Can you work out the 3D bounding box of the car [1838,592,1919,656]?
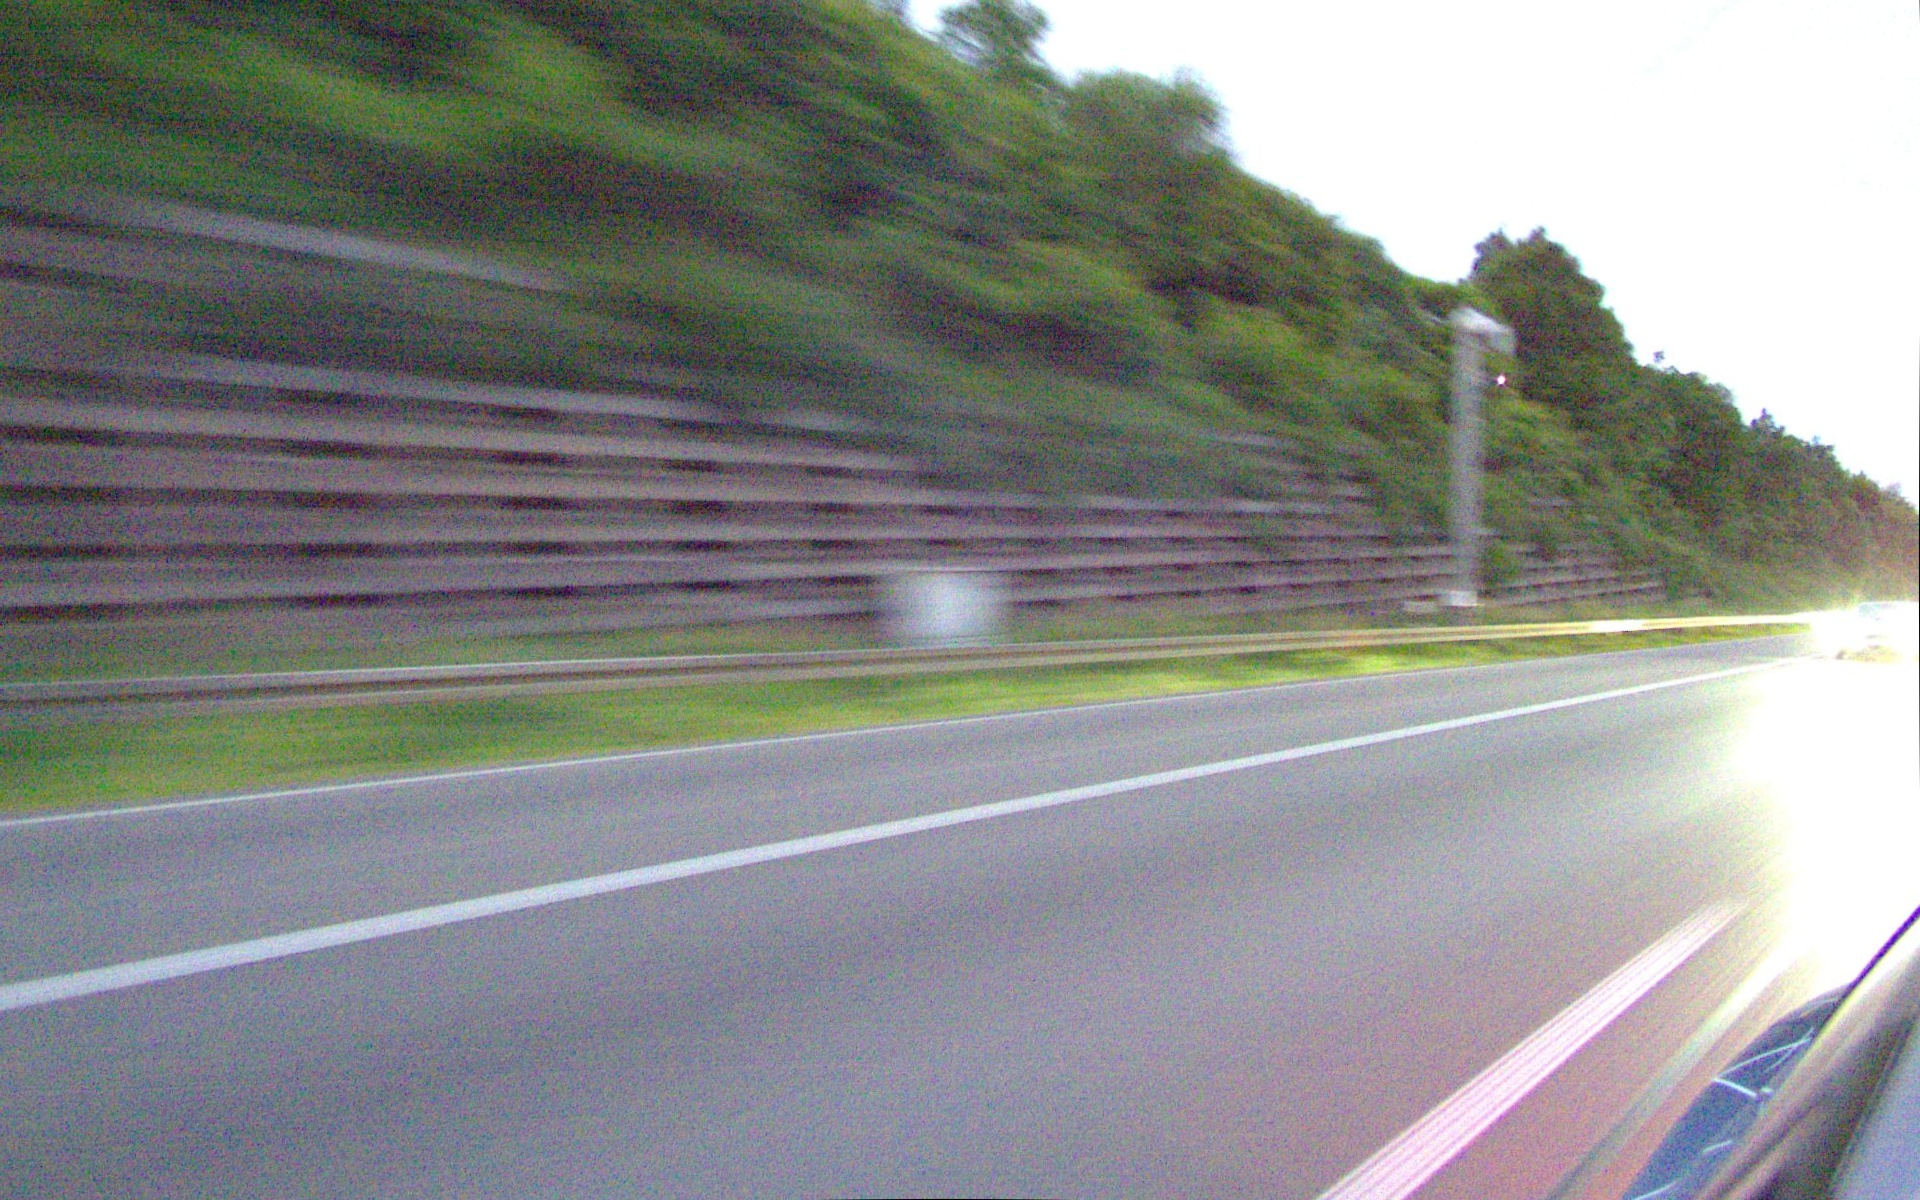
[{"bbox_3d":[23.620,0.538,25.390,4.505,1.454,1.868,-1,0,-42],"label":"car"}]
